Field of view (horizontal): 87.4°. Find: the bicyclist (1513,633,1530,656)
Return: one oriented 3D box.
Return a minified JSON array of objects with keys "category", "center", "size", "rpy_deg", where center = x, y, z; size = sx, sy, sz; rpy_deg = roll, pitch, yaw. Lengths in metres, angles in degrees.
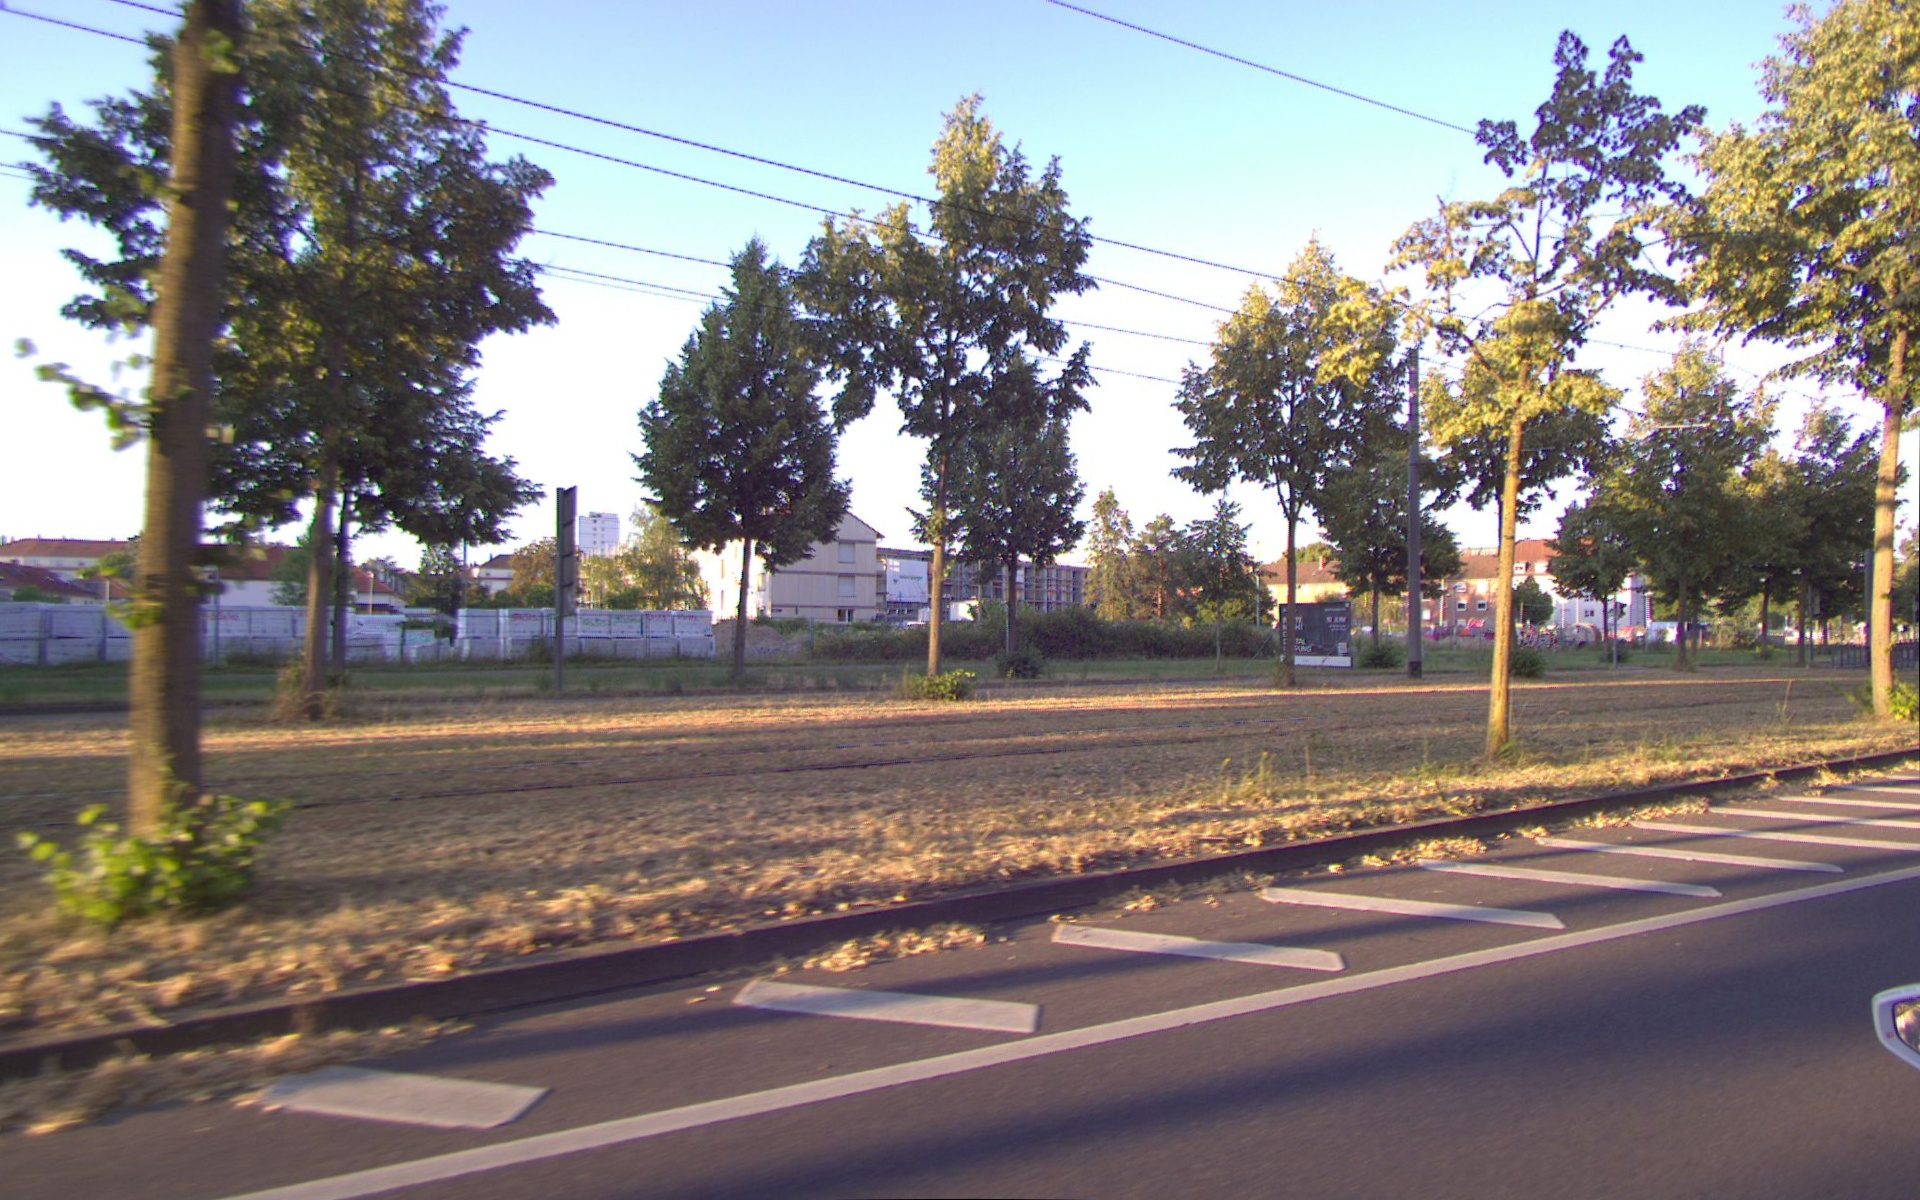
[{"category":"bicyclist","center":[36.341,2.882,64.998],"size":[0.927,1.440,0.615],"rpy_deg":[1,-2,-33]}]

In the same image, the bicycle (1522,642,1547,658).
[{"category":"bicycle","center":[37.909,3.305,66.271],"size":[2.061,1.024,0.615],"rpy_deg":[2,-2,-34]}]

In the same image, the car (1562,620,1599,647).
[{"category":"car","center":[53.937,2.927,87.251],"size":[2.383,2.254,5.900],"rpy_deg":[-1,-2,35]}]

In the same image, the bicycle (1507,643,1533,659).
[{"category":"bicycle","center":[36.184,3.267,64.883],"size":[2.061,1.024,0.615],"rpy_deg":[2,-2,-34]}]

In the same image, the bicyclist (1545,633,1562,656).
[{"category":"bicyclist","center":[38.768,2.915,65.643],"size":[0.927,1.475,0.615],"rpy_deg":[1,-2,-33]}]

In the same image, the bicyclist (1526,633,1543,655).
[{"category":"bicyclist","center":[37.871,2.909,66.245],"size":[0.927,1.475,0.615],"rpy_deg":[1,-2,-33]}]

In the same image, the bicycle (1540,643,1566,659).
[{"category":"bicycle","center":[38.726,3.324,65.608],"size":[2.061,1.024,0.615],"rpy_deg":[2,-2,-34]}]
